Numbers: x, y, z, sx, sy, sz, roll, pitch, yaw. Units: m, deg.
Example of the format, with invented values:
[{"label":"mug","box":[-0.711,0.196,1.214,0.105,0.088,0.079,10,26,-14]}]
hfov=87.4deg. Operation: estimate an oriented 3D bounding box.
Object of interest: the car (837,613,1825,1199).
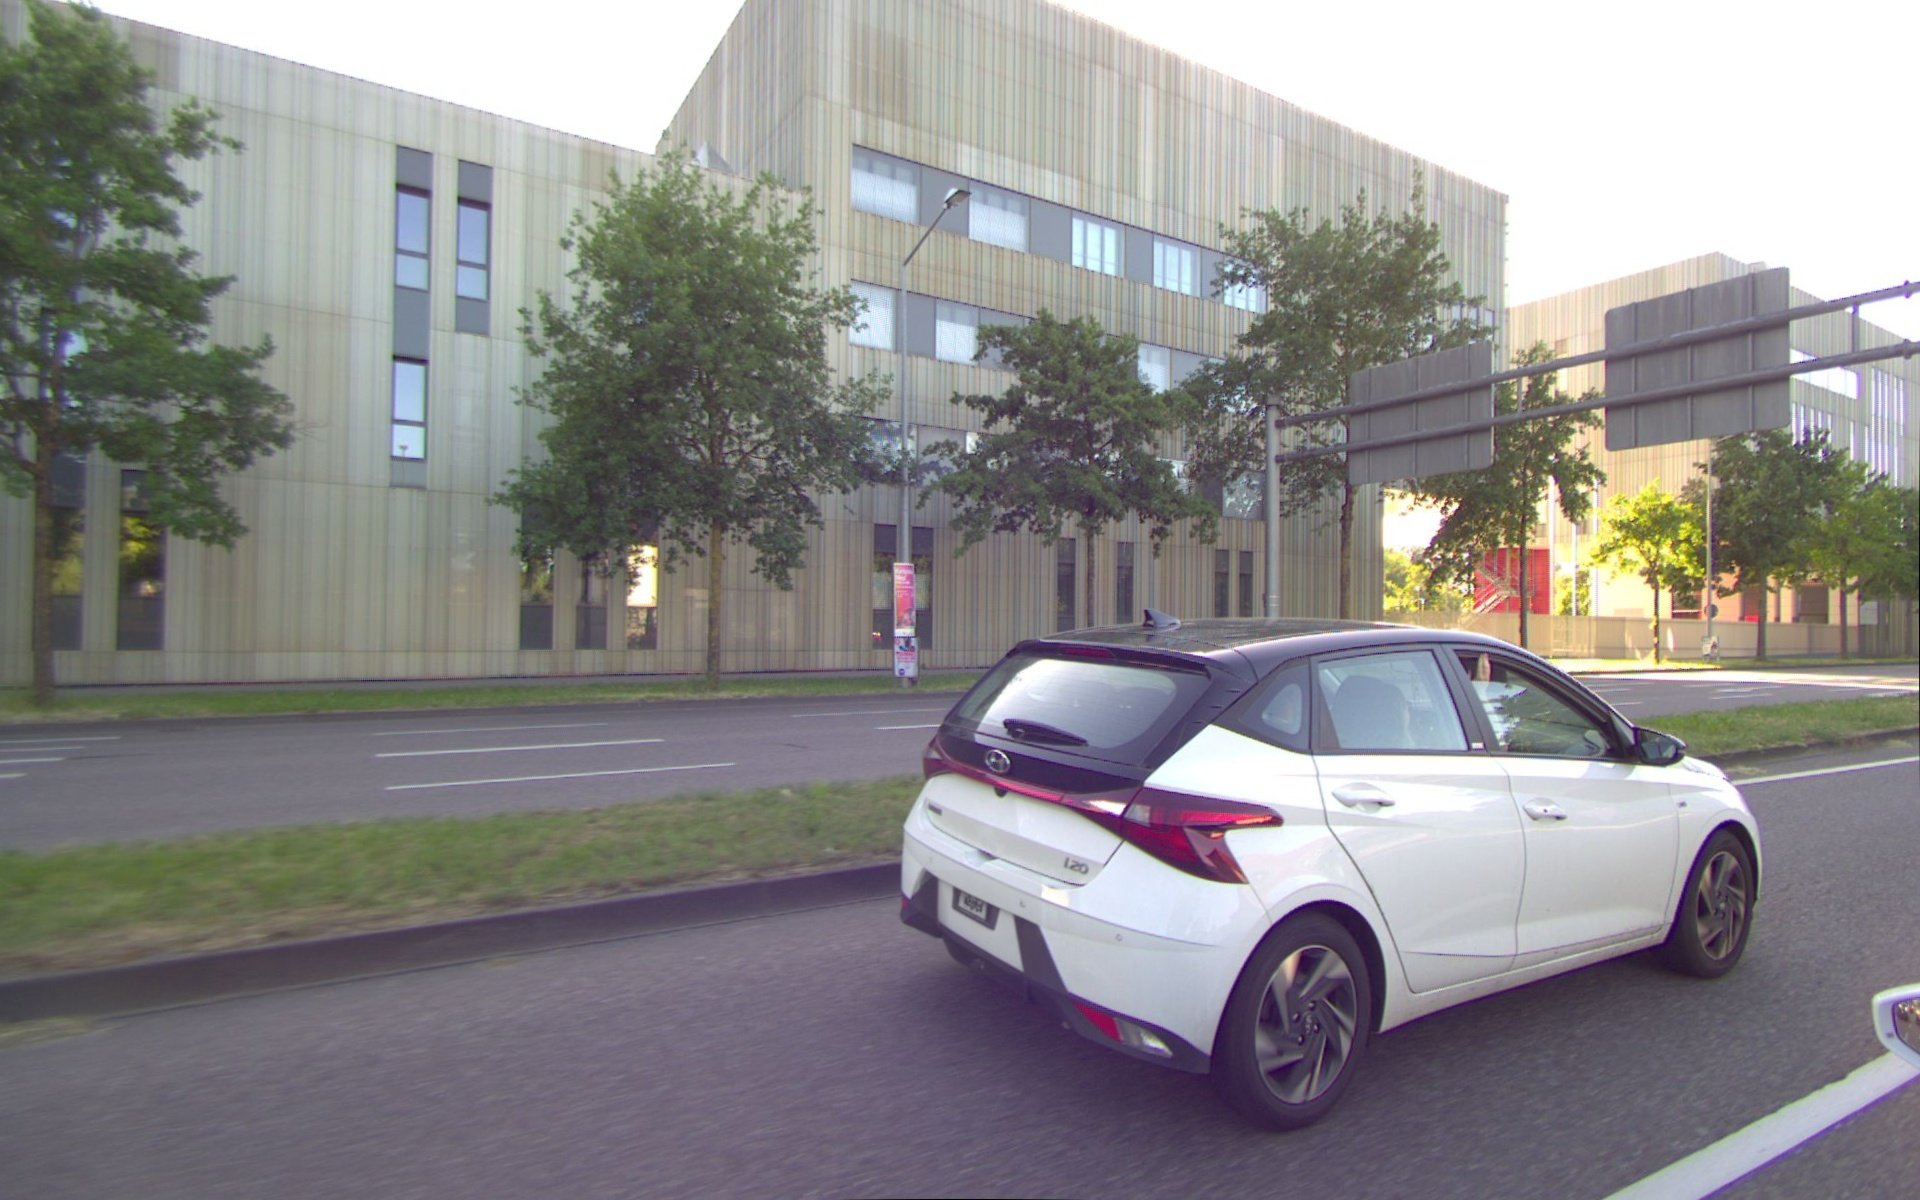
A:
[{"label":"car","box":[1.691,0.796,4.226,4.027,1.427,1.769,1,-1,-31]}]
